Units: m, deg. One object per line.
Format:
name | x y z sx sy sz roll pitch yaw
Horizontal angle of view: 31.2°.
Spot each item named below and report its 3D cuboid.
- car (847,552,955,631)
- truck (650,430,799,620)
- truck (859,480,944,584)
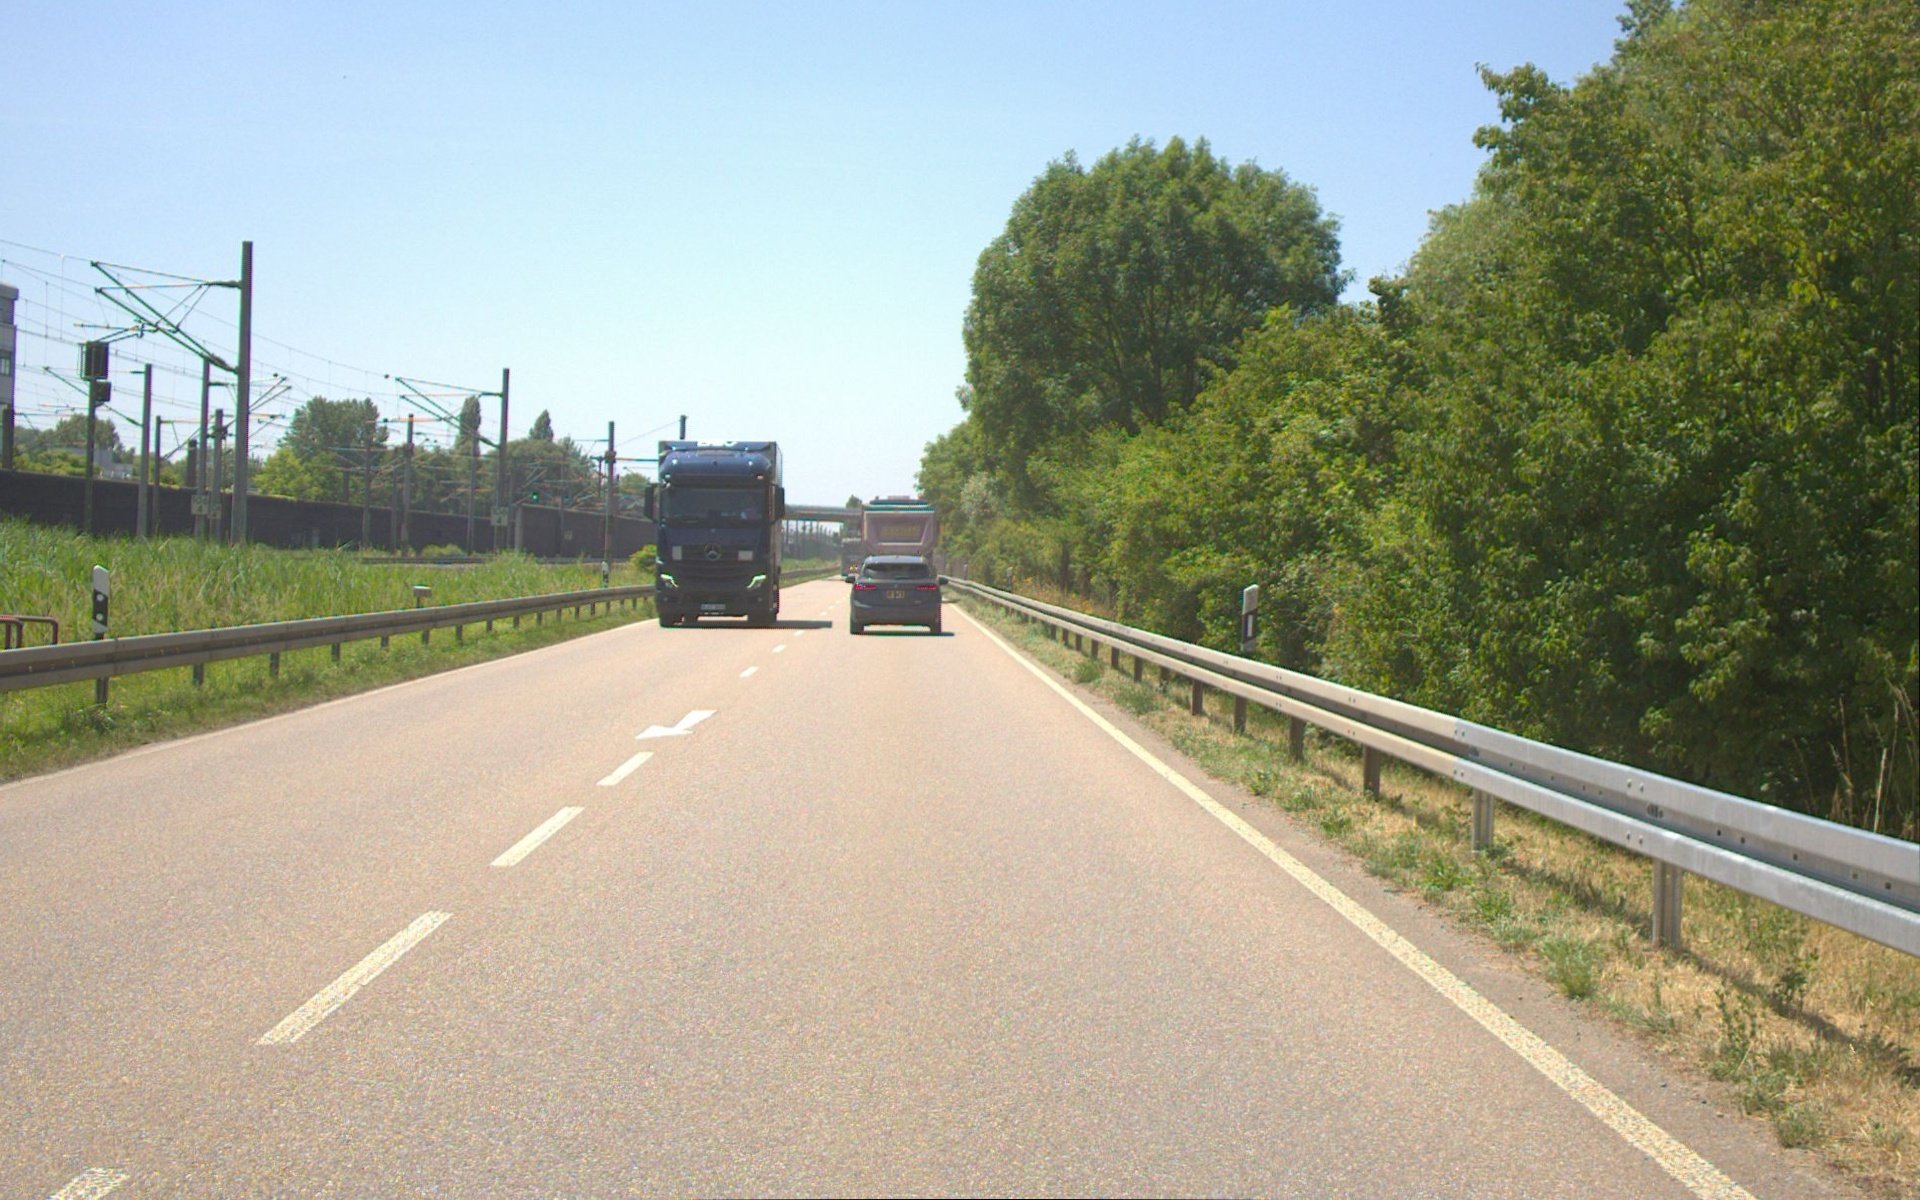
car | -1.223 -0.185 68.967 1.993 1.503 4.001 1 1 -3
truck | -5.194 -1.670 77.495 2.797 3.964 10.501 -1 1 -1
truck | -2.062 -2.329 120.345 2.770 3.414 10.820 1 1 -1
